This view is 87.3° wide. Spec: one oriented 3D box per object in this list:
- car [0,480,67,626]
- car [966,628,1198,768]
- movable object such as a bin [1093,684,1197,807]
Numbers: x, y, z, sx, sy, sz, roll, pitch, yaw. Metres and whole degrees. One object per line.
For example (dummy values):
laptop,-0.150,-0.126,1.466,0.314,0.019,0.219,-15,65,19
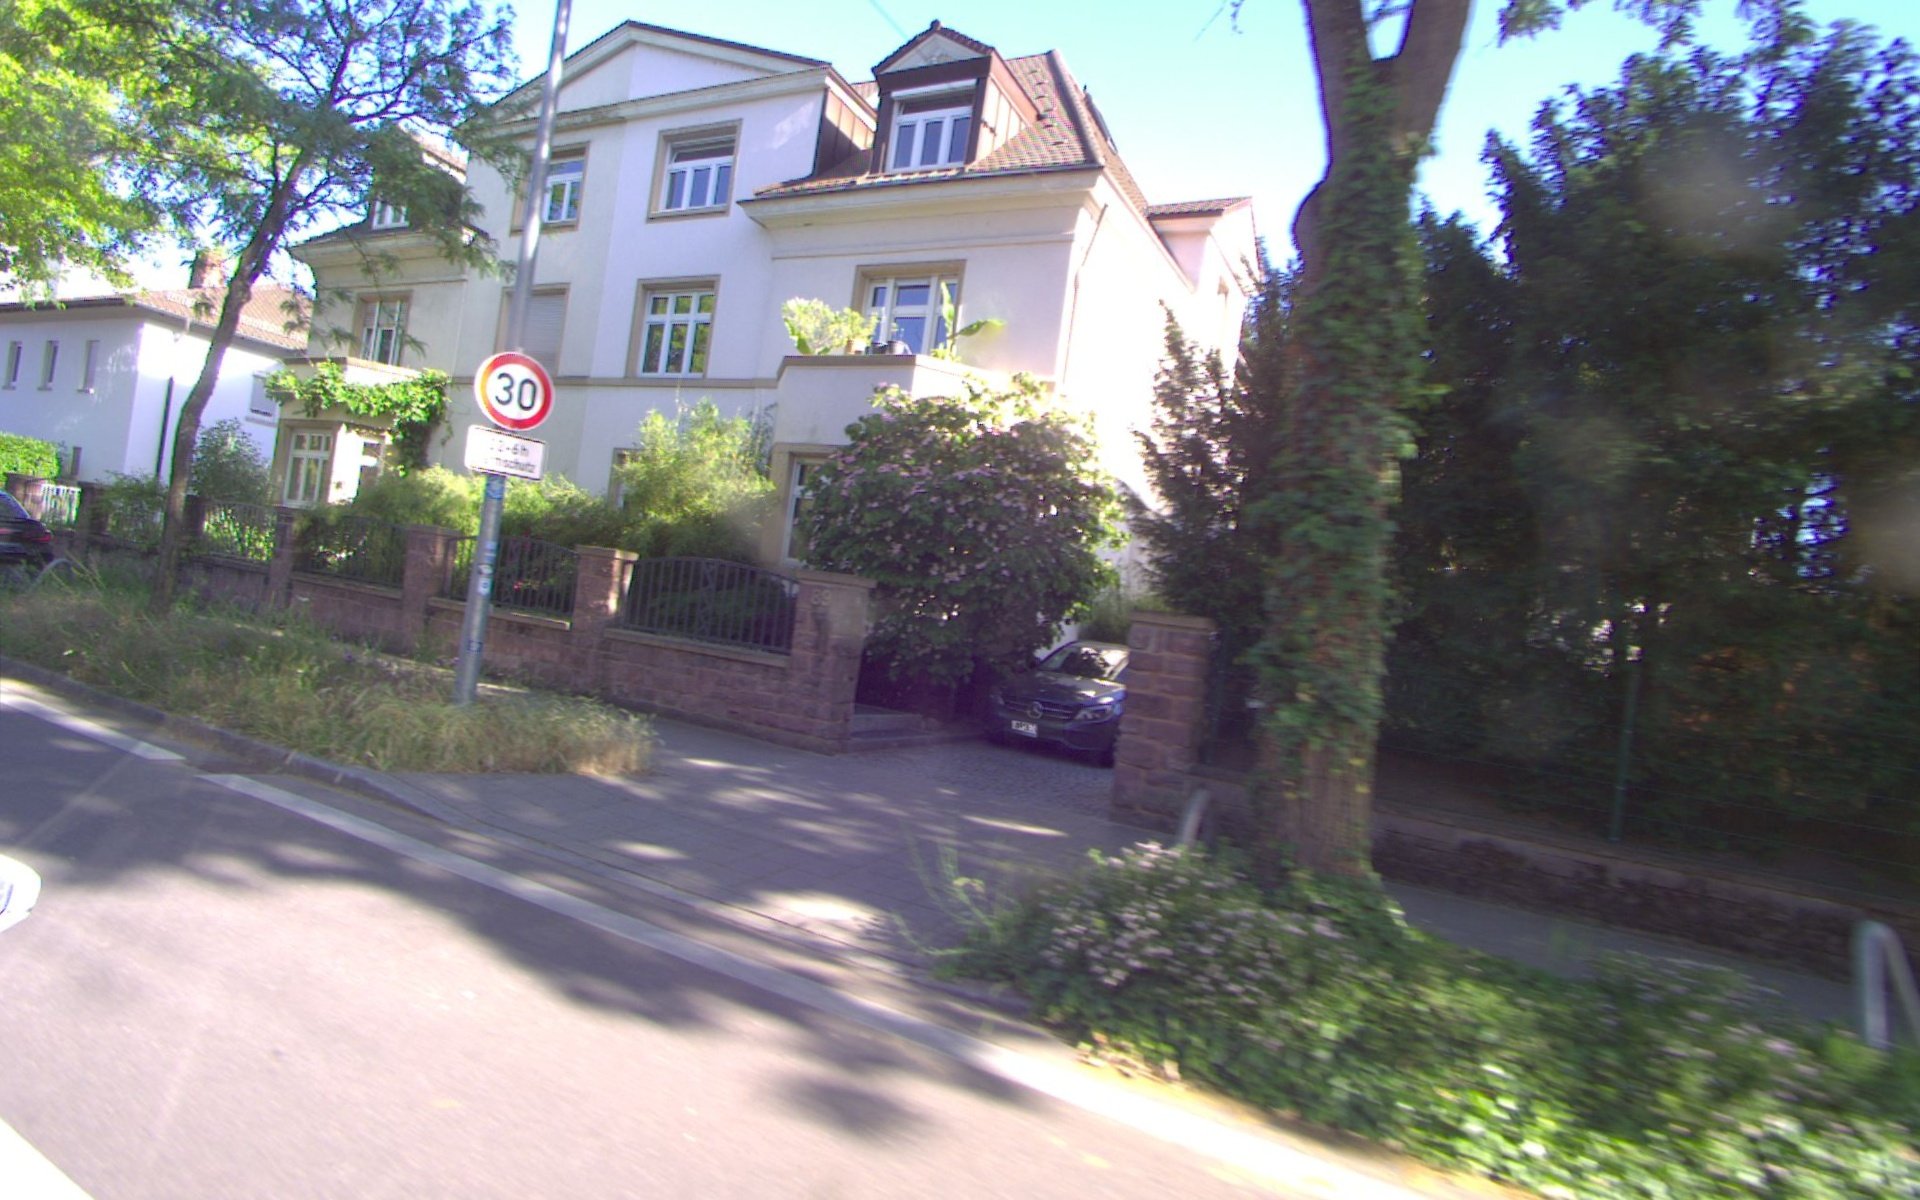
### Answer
car,-13.524,-0.803,12.830,4.649,1.716,1.805,7,2,30
car,1.842,1.339,13.900,1.726,1.444,3.998,7,-2,28
movable object such as a bin,1.920,1.485,10.387,0.718,1.111,0.748,7,-1,30
